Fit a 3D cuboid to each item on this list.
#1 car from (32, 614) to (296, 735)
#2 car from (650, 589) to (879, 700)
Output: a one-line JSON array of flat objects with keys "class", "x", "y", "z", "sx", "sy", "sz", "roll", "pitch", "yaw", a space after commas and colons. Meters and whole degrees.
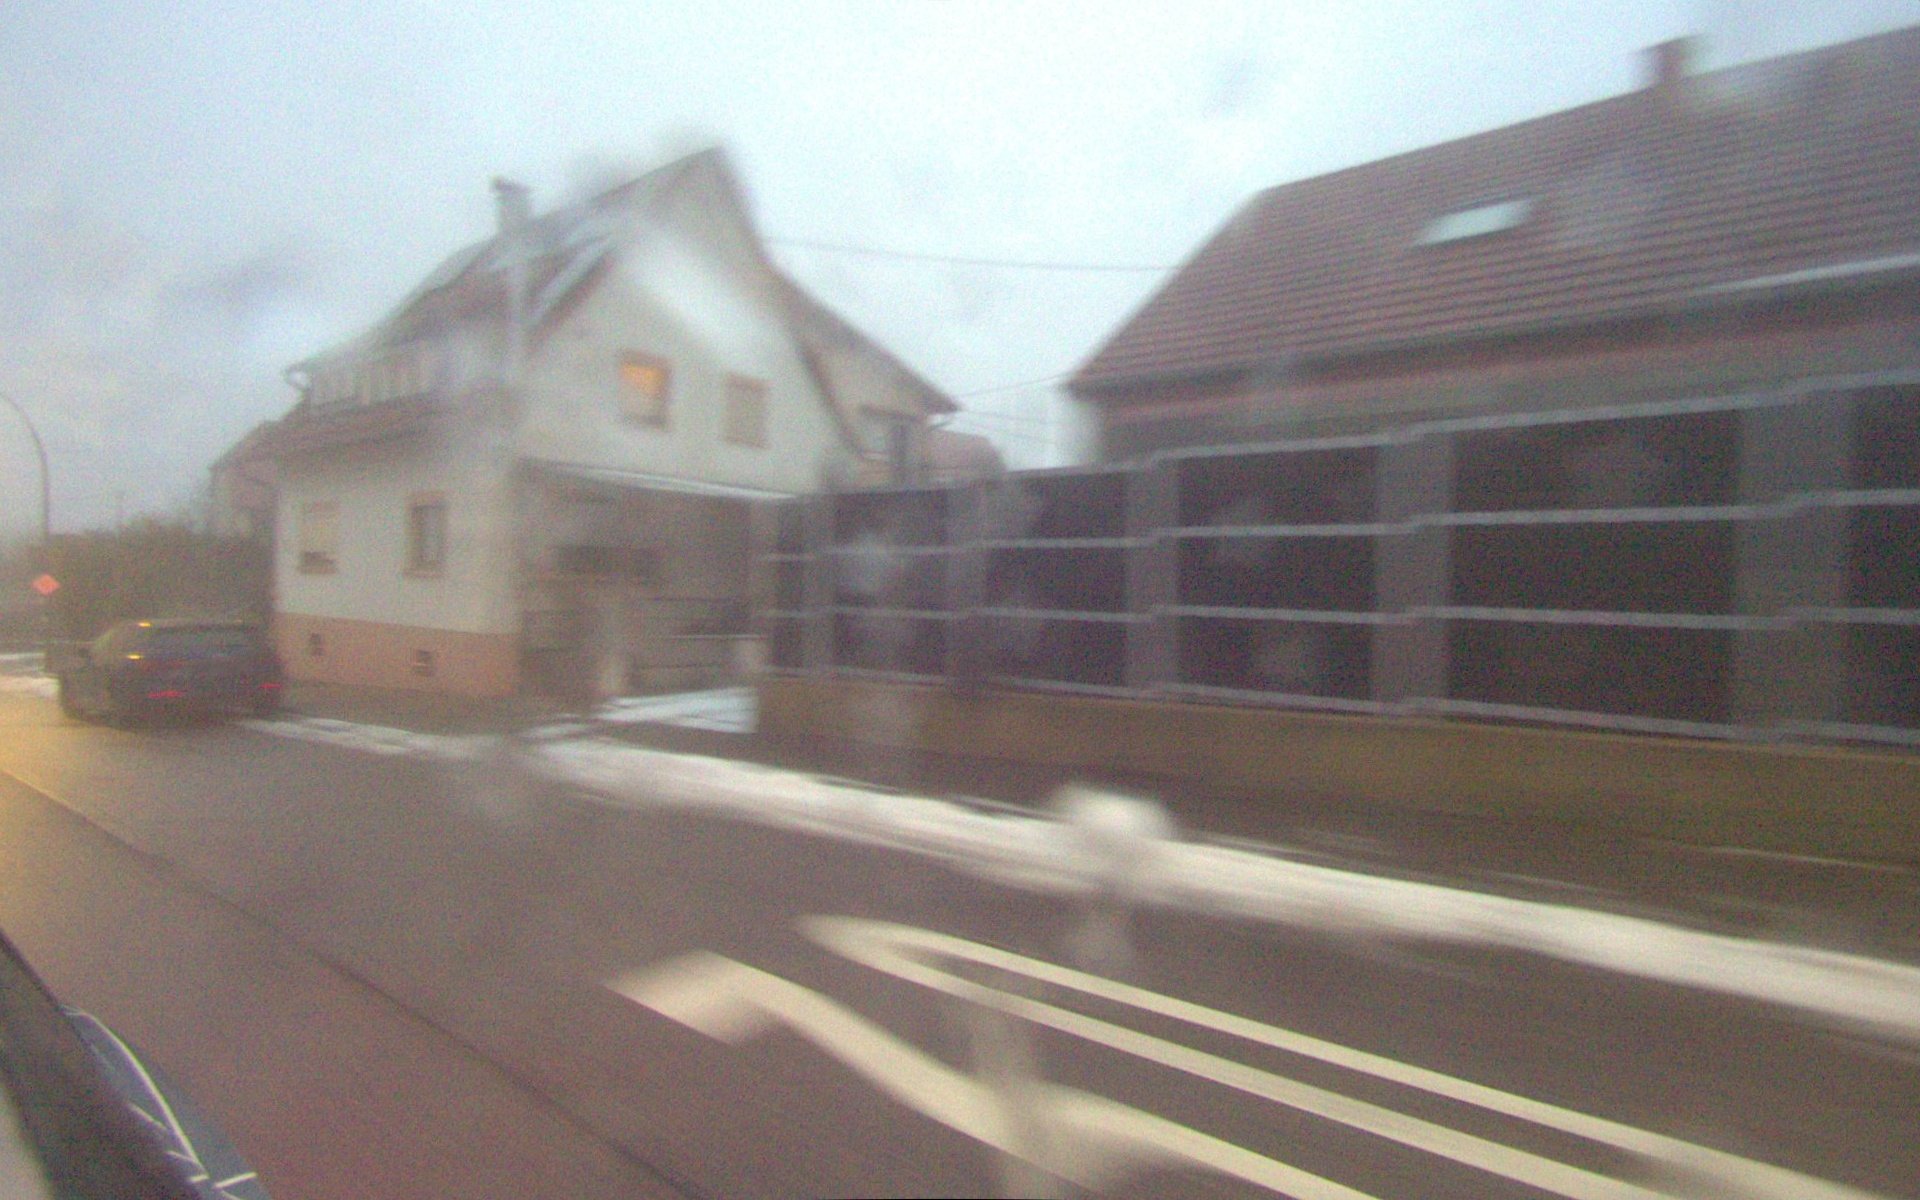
[{"class": "car", "x": -11.948, "y": 1.011, "z": 15.034, "sx": 5.385, "sy": 1.437, "sz": 1.859, "roll": -2, "pitch": 0, "yaw": 38}, {"class": "car", "x": -3.521, "y": 0.716, "z": 18.809, "sx": 1.792, "sy": 1.660, "sz": 3.948, "roll": 2, "pitch": 4, "yaw": 39}]
